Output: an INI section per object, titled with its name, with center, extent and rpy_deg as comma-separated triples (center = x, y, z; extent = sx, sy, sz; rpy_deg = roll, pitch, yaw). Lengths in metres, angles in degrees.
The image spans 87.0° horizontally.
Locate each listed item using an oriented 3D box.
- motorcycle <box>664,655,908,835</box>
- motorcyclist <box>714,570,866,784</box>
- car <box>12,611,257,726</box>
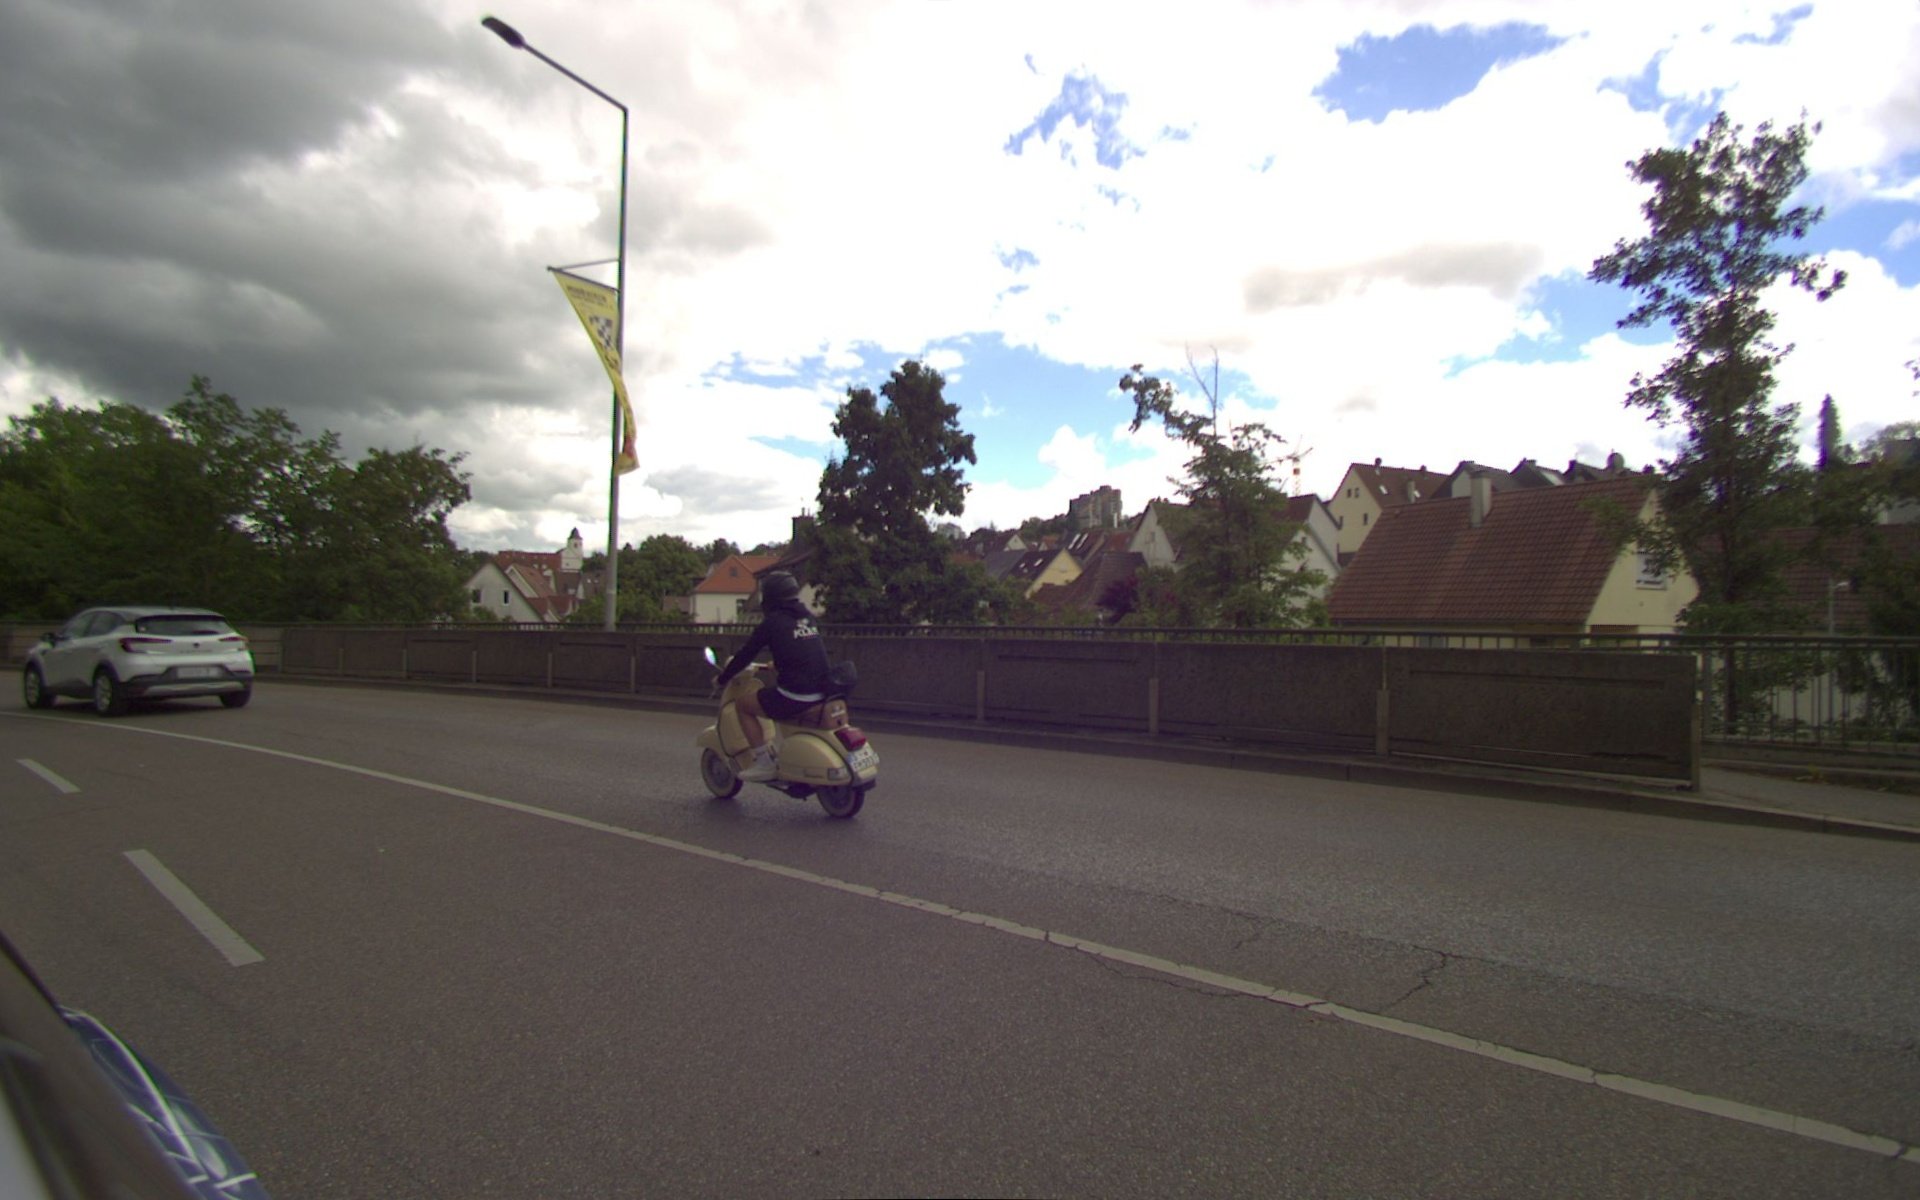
[motorcycle]
center = -1.238, 0.940, 7.053
extent = 1.716, 1.069, 0.676
rpy_deg = -1, -2, 36
[motorcyclist]
center = -1.166, 0.503, 6.962
extent = 0.838, 1.366, 0.614
rpy_deg = -1, -2, 35
[car]
center = -12.406, 0.940, 15.180
extent = 3.641, 1.498, 1.734
rpy_deg = -1, 0, 31
